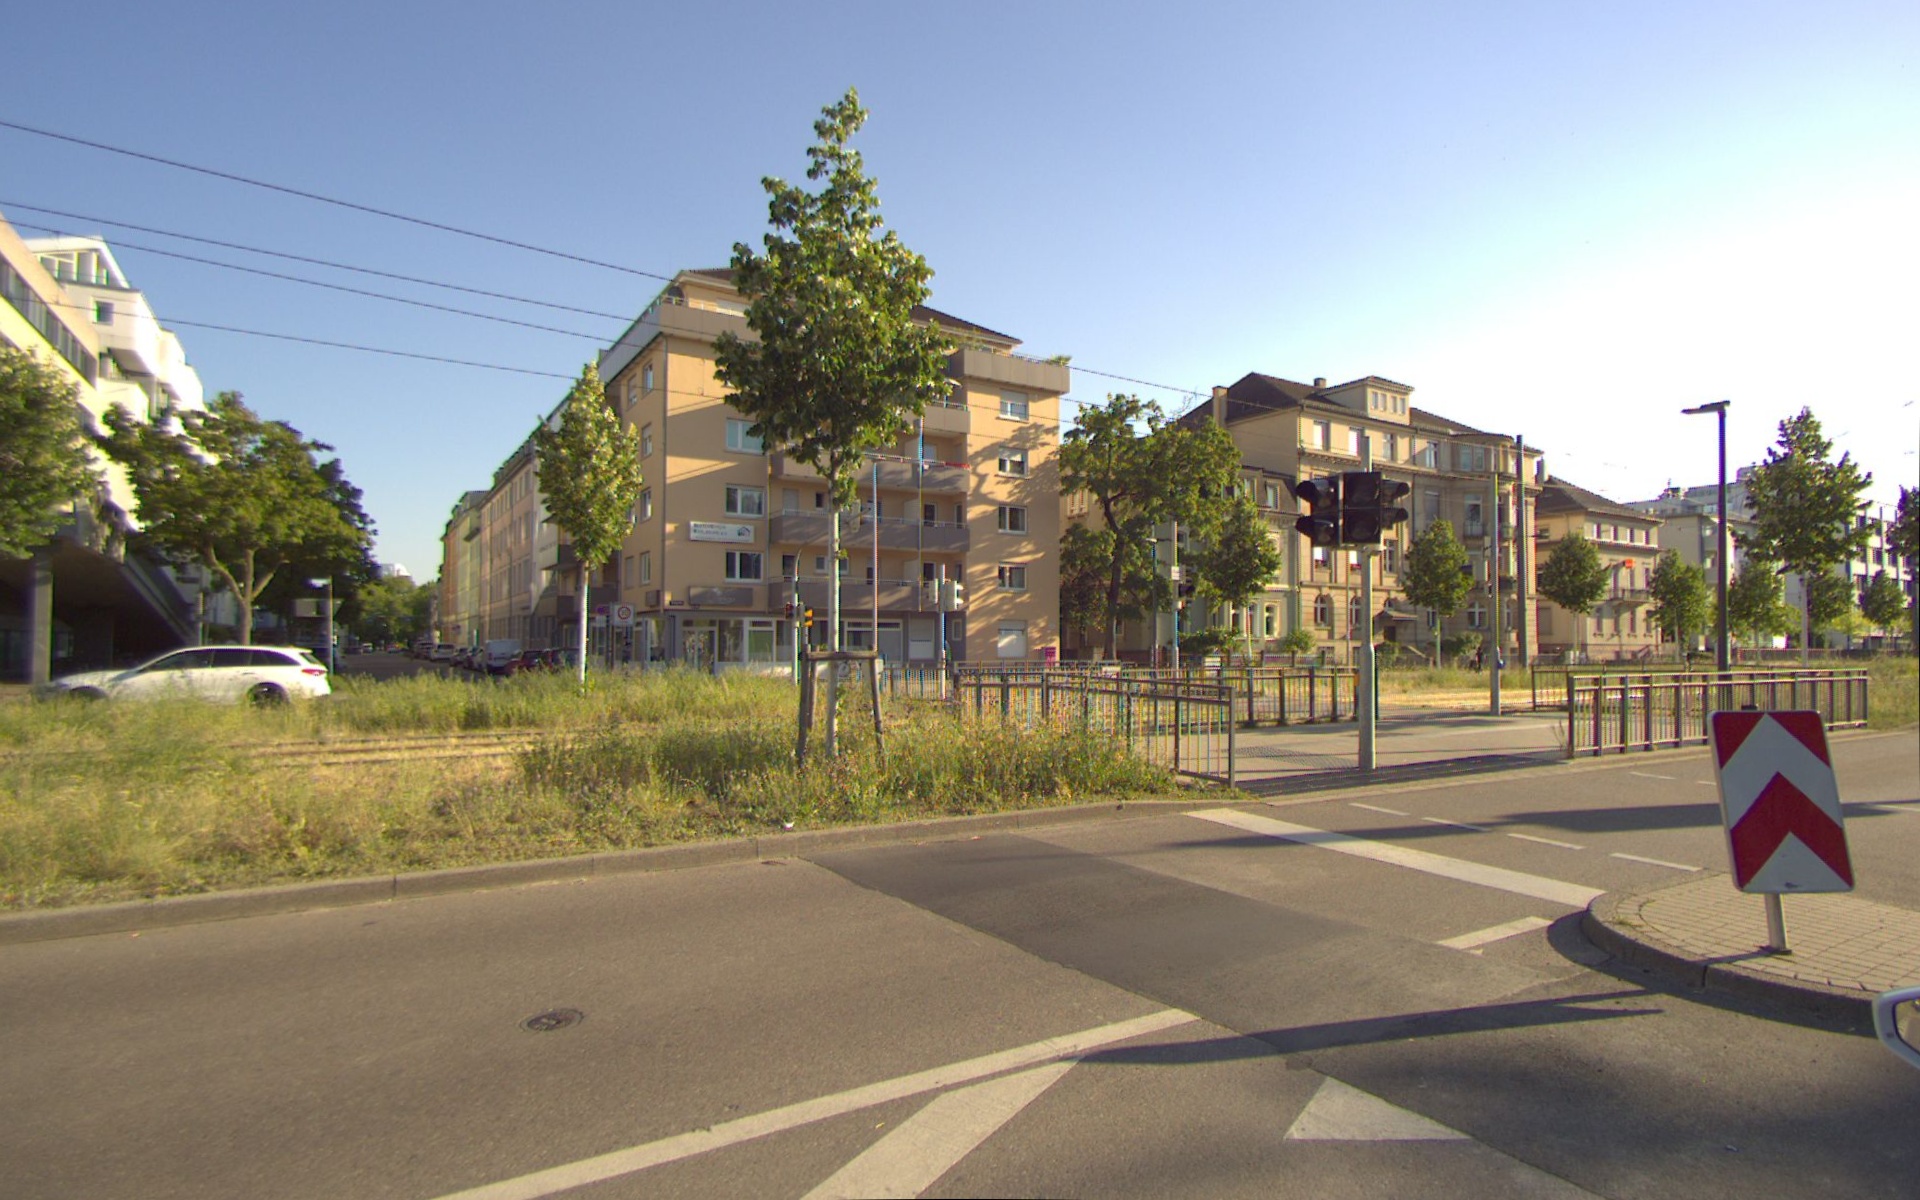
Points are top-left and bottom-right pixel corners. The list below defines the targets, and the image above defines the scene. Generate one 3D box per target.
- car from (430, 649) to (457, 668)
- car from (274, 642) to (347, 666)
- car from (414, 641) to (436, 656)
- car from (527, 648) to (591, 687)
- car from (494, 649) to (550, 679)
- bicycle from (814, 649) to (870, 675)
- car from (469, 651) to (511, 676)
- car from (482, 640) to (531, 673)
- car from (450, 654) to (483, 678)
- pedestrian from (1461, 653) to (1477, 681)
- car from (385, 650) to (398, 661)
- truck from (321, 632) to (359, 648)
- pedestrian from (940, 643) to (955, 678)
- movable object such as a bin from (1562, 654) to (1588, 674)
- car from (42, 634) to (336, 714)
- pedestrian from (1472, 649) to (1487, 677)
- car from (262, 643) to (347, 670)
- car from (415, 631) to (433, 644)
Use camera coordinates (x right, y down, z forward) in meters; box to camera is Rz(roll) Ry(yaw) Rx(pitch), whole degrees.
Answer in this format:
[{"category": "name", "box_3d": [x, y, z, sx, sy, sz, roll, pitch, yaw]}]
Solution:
[{"category": "car", "box_3d": [-45.590, 5.129, 88.611, 1.801, 1.627, 3.854, 2, -3, -31]}, {"category": "car", "box_3d": [-42.810, 3.551, 66.312, 3.954, 1.533, 1.984, 2, -3, -31]}, {"category": "car", "box_3d": [-57.018, 5.159, 107.038, 1.801, 1.627, 3.854, 2, -3, -31]}, {"category": "car", "box_3d": [-16.727, 2.781, 41.798, 1.827, 1.516, 3.966, 2, -3, -32]}, {"category": "car", "box_3d": [-21.240, 3.070, 48.636, 1.978, 1.321, 3.967, 2, -3, -31]}, {"category": "bicycle", "box_3d": [-5.407, 2.843, 46.056, 2.557, 1.152, 0.528, 2, -2, -32]}, {"category": "car", "box_3d": [-28.576, 3.825, 61.004, 1.827, 1.452, 3.966, 2, -3, -32]}, {"category": "car", "box_3d": [-25.330, 3.125, 56.055, 1.978, 1.766, 3.967, 2, -3, -31]}, {"category": "car", "box_3d": [-35.841, 4.766, 72.906, 1.801, 1.627, 3.854, 2, -3, -31]}, {"category": "pedestrian", "box_3d": [32.349, 4.266, 63.878, 0.646, 1.743, 0.652, 1, -3, -33]}, {"category": "car", "box_3d": [-105.389, 10.252, 186.223, 1.978, 2.040, 3.966, 2, -2, -32]}, {"category": "truck", "box_3d": [-89.404, 5.747, 144.839, 4.573, 2.197, 1.804, 2, -3, -35]}, {"category": "pedestrian", "box_3d": [-0.575, 2.767, 45.757, 0.443, 1.576, 0.516, 2, -3, -32]}, {"category": "movable object such as a bin", "box_3d": [44.709, 4.662, 73.015, 1.068, 1.447, 1.199, 1, -3, -32]}, {"category": "car", "box_3d": [-15.578, 1.468, 20.675, 4.613, 1.482, 1.766, 2, -3, -33]}, {"category": "pedestrian", "box_3d": [32.731, 3.977, 63.267, 0.646, 1.743, 0.552, 1, -2, -33]}, {"category": "car", "box_3d": [-37.798, 3.241, 58.053, 3.954, 1.533, 1.984, 2, -3, -31]}, {"category": "car", "box_3d": [-68.532, 4.850, 128.474, 1.801, 1.627, 3.854, 2, -3, -31]}]
